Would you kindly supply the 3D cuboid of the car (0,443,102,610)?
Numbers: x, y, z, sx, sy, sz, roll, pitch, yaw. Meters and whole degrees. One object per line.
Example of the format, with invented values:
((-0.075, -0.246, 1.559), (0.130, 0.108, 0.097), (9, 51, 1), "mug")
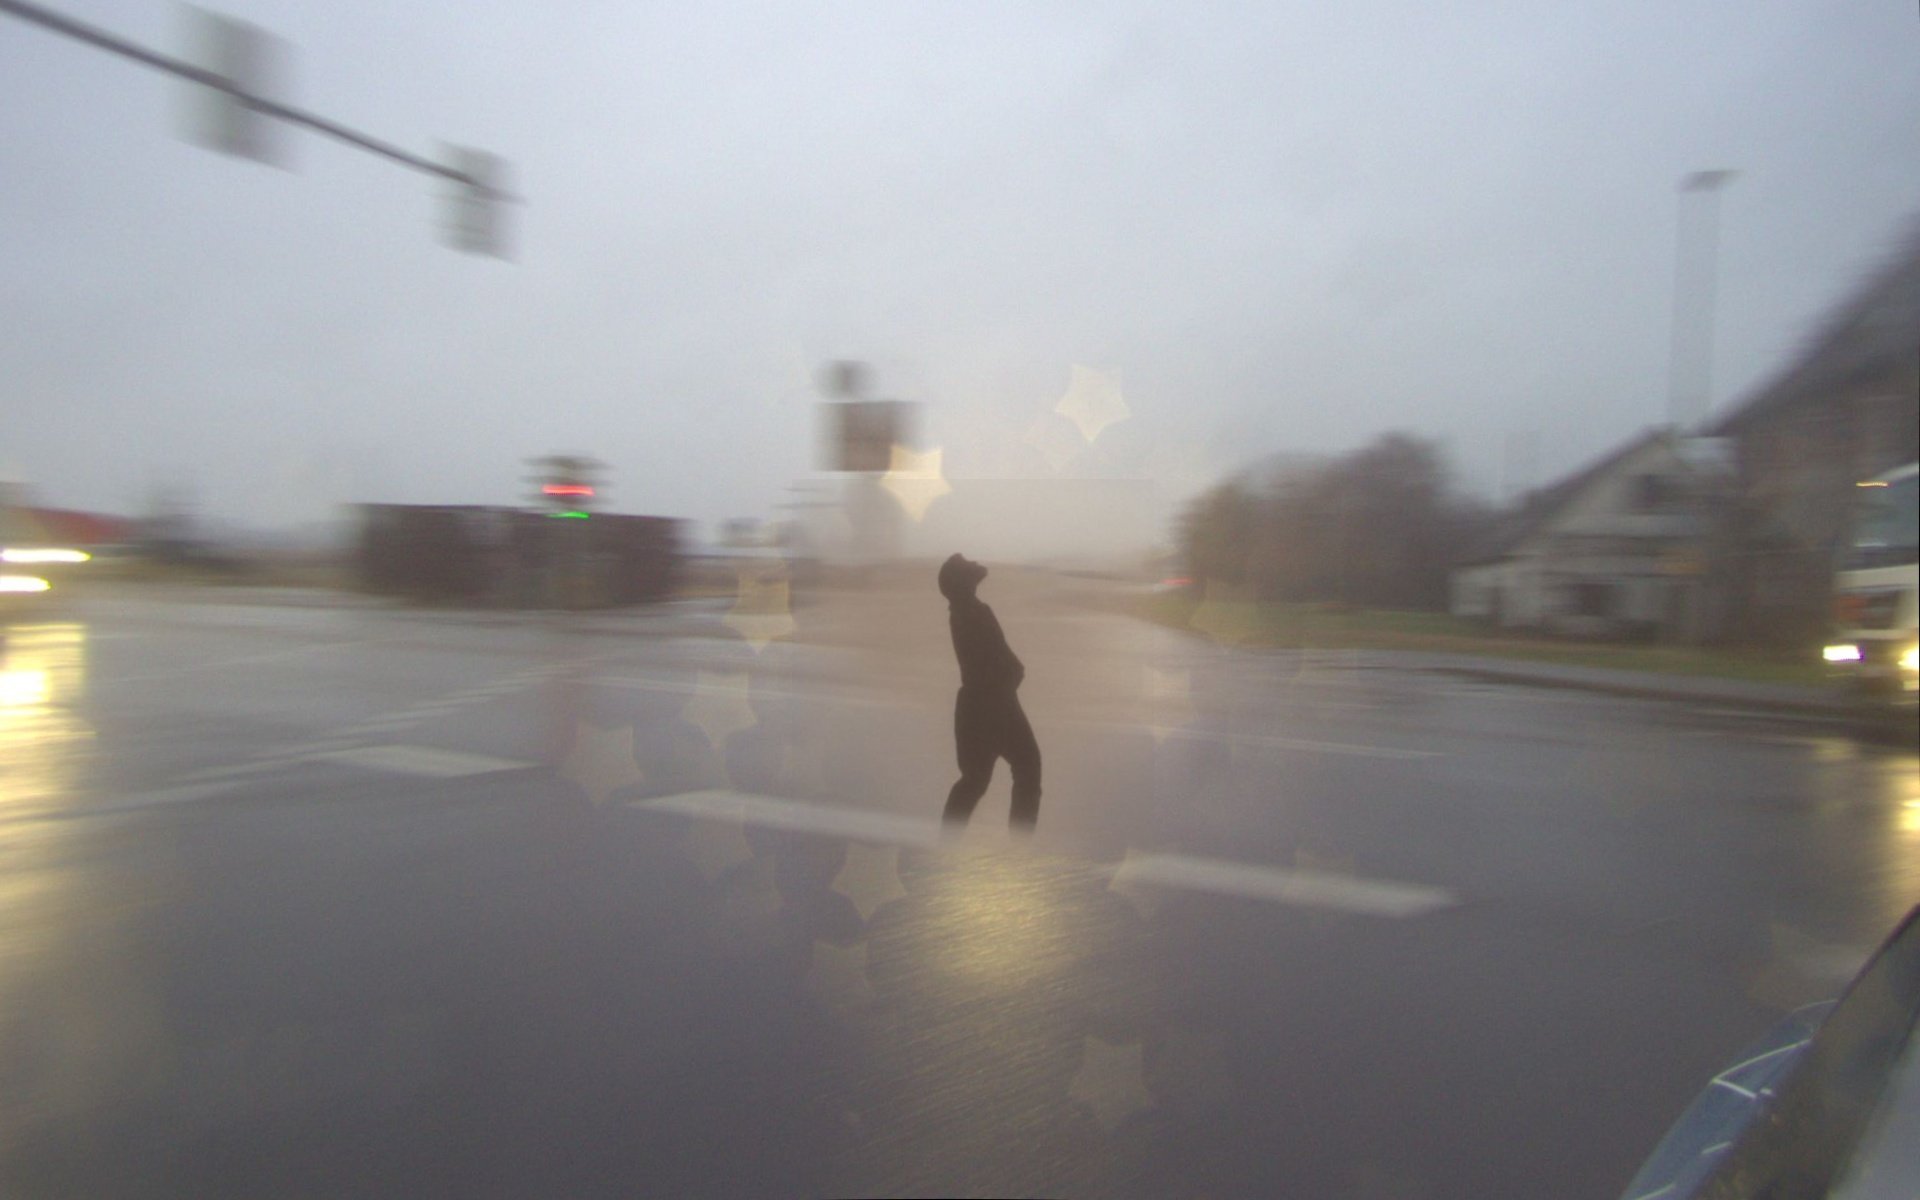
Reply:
((-19.585, -1.404, 19.434), (6.187, 2.929, 2.387), (2, 0, 26), "car")

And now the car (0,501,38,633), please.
((-14.823, -0.507, 13.796), (3.959, 1.767, 1.984), (3, 3, 25), "car")

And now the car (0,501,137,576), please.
((-37.580, -2.563, 42.023), (1.752, 2.904, 5.248), (2, 3, 15), "car")

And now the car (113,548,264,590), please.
((-30.621, -1.291, 40.348), (1.760, 1.548, 4.502), (3, 4, 26), "car")

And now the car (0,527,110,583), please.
((-35.406, -1.744, 38.742), (1.985, 2.038, 3.957), (3, 4, 31), "car")

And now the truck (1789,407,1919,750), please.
((12.340, -0.090, 9.690), (6.198, 3.270, 2.452), (2, 1, 21), "truck")

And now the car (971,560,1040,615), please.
((1.484, -0.454, 34.259), (1.782, 1.709, 3.921), (2, 1, -4), "car")
